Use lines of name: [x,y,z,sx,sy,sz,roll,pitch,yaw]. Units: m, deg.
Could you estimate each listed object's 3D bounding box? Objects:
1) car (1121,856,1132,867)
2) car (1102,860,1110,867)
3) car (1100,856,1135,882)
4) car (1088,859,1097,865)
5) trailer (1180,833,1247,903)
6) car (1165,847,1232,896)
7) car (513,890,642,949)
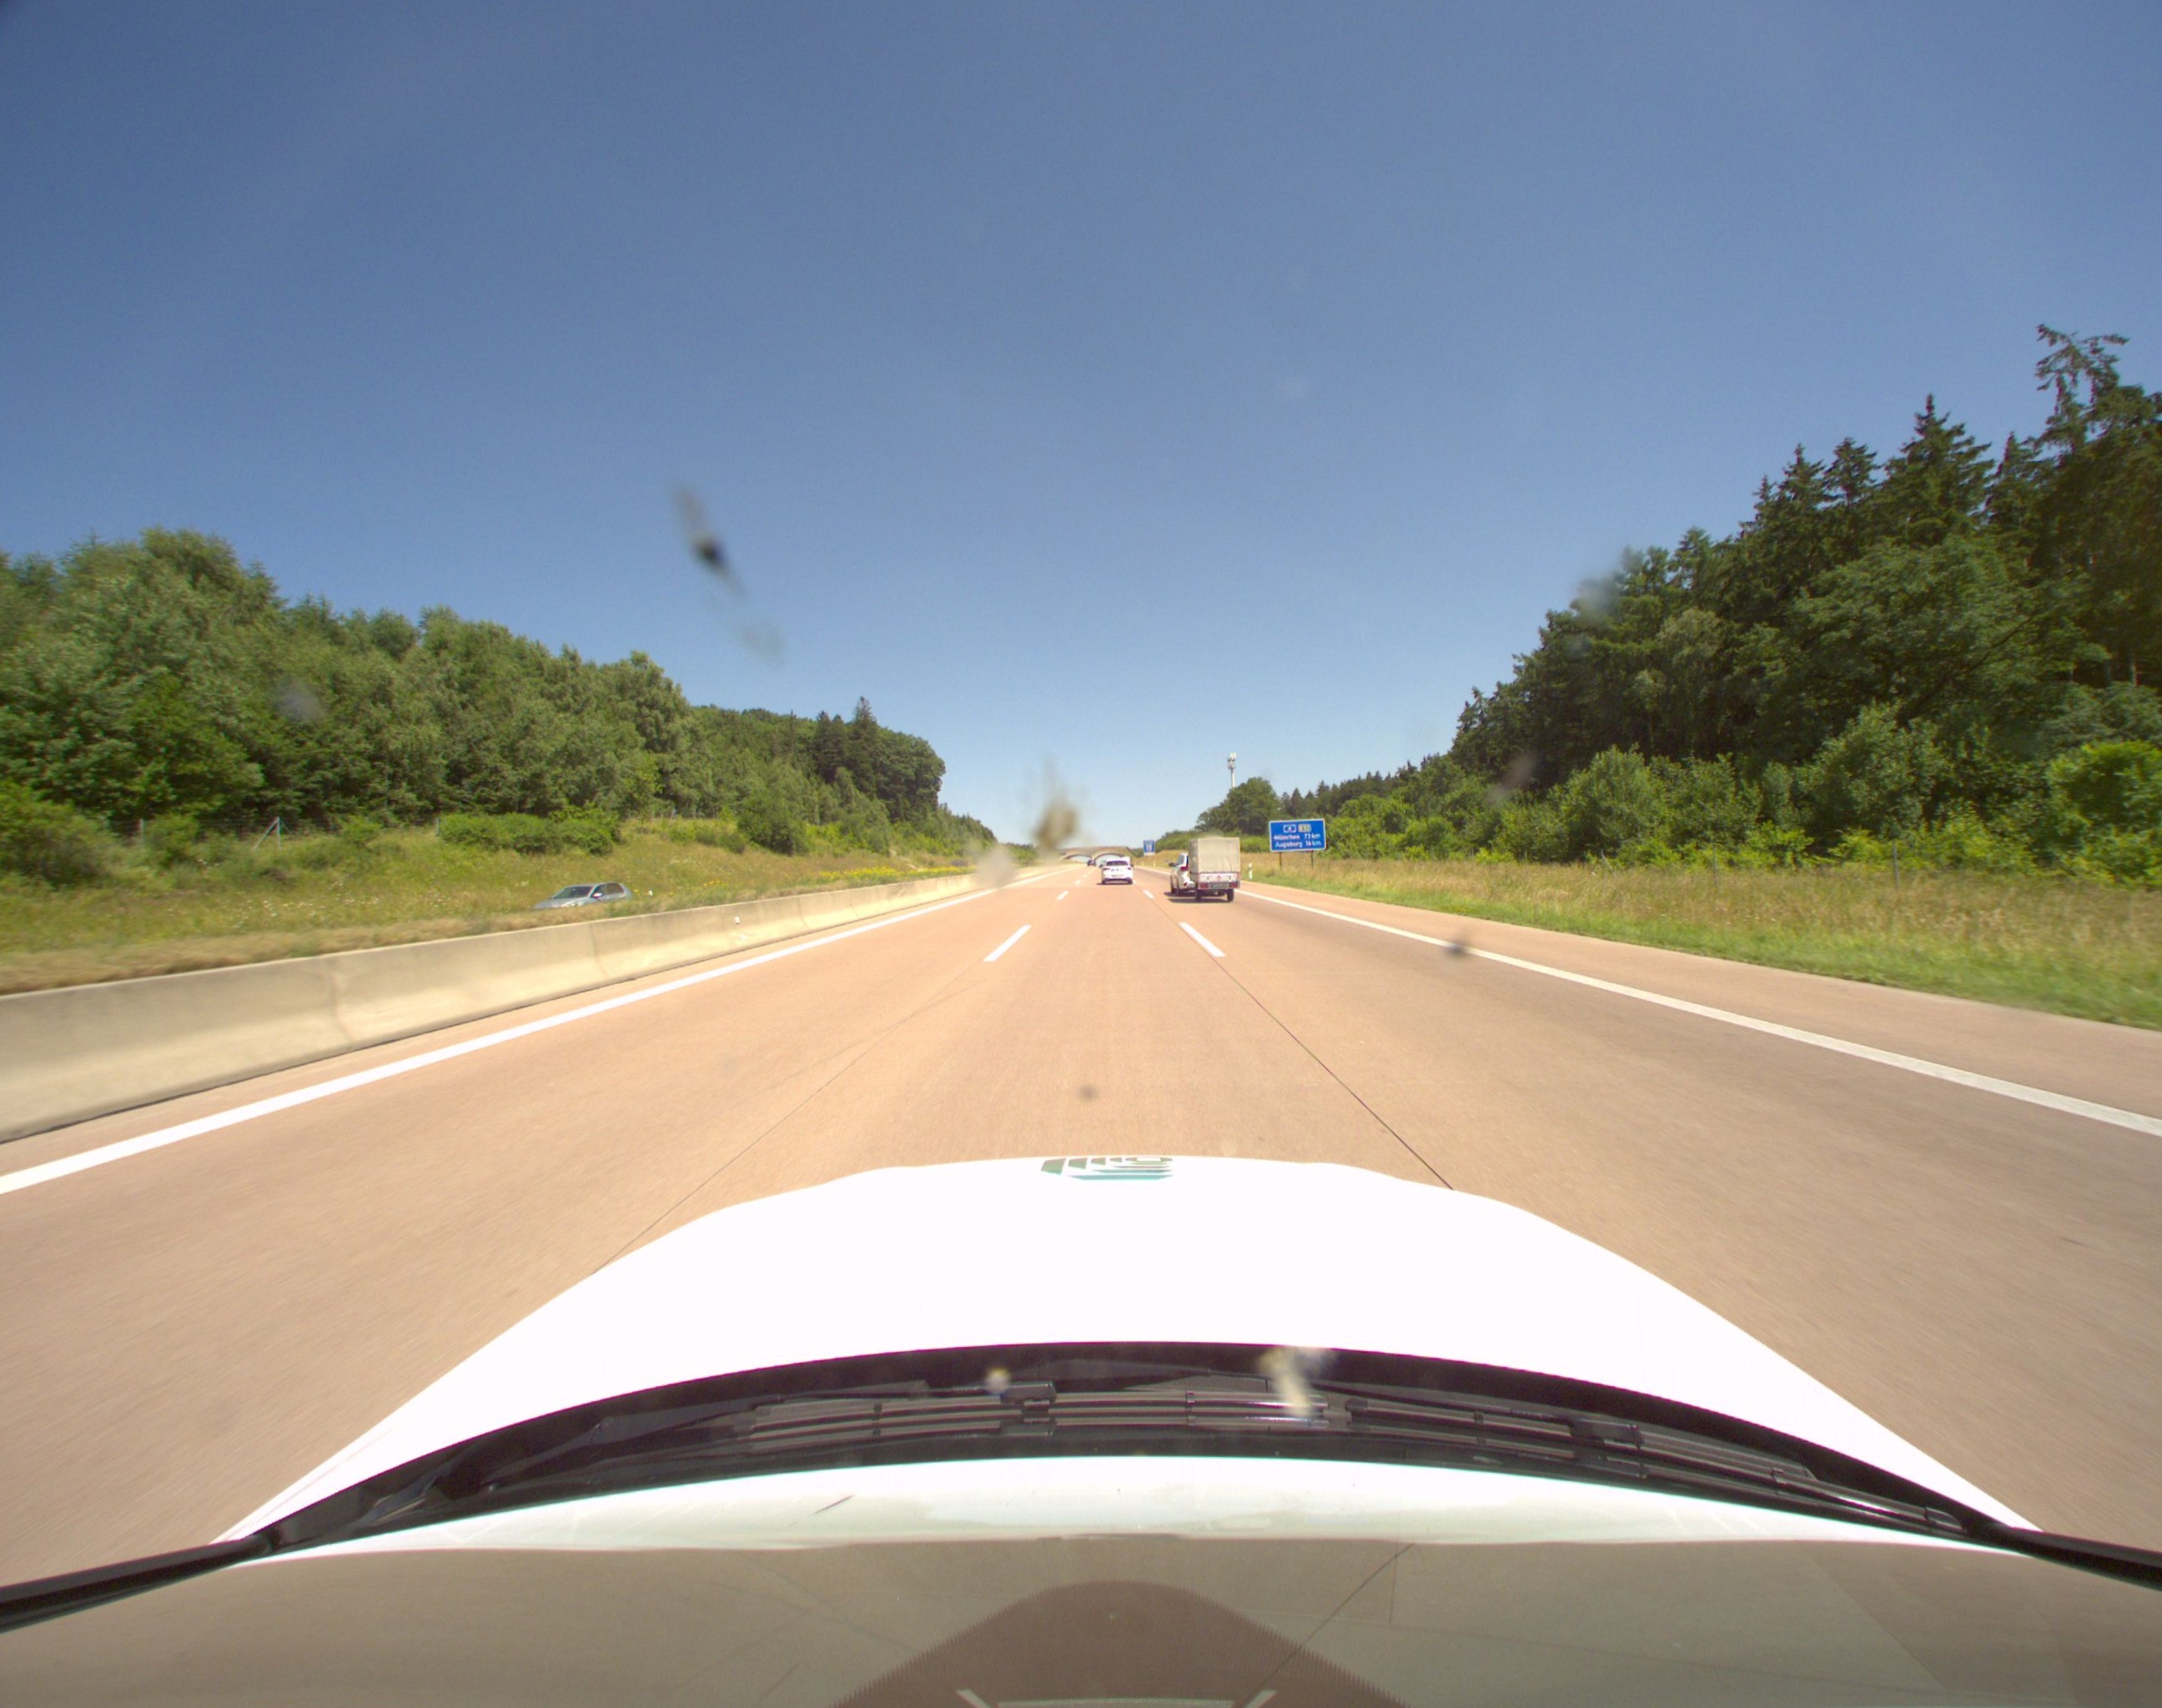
car: [9.062,1.526,160.873,2.101,2.054,4.004,-1,0,4]
car: [5.777,2.249,190.506,1.883,1.463,4.002,-1,0,2]
car: [2.035,0.828,46.267,1.884,1.398,4.001,0,0,1]
car: [2.944,2.067,205.498,1.882,1.463,4.004,-1,0,4]
trailer: [4.398,0.459,27.608,1.651,2.164,4.016,-1,-1,1]
car: [4.535,0.653,32.131,1.884,1.728,5.186,-1,0,0]
car: [-18.069,2.277,29.530,1.885,1.738,4.463,-1,0,0]
